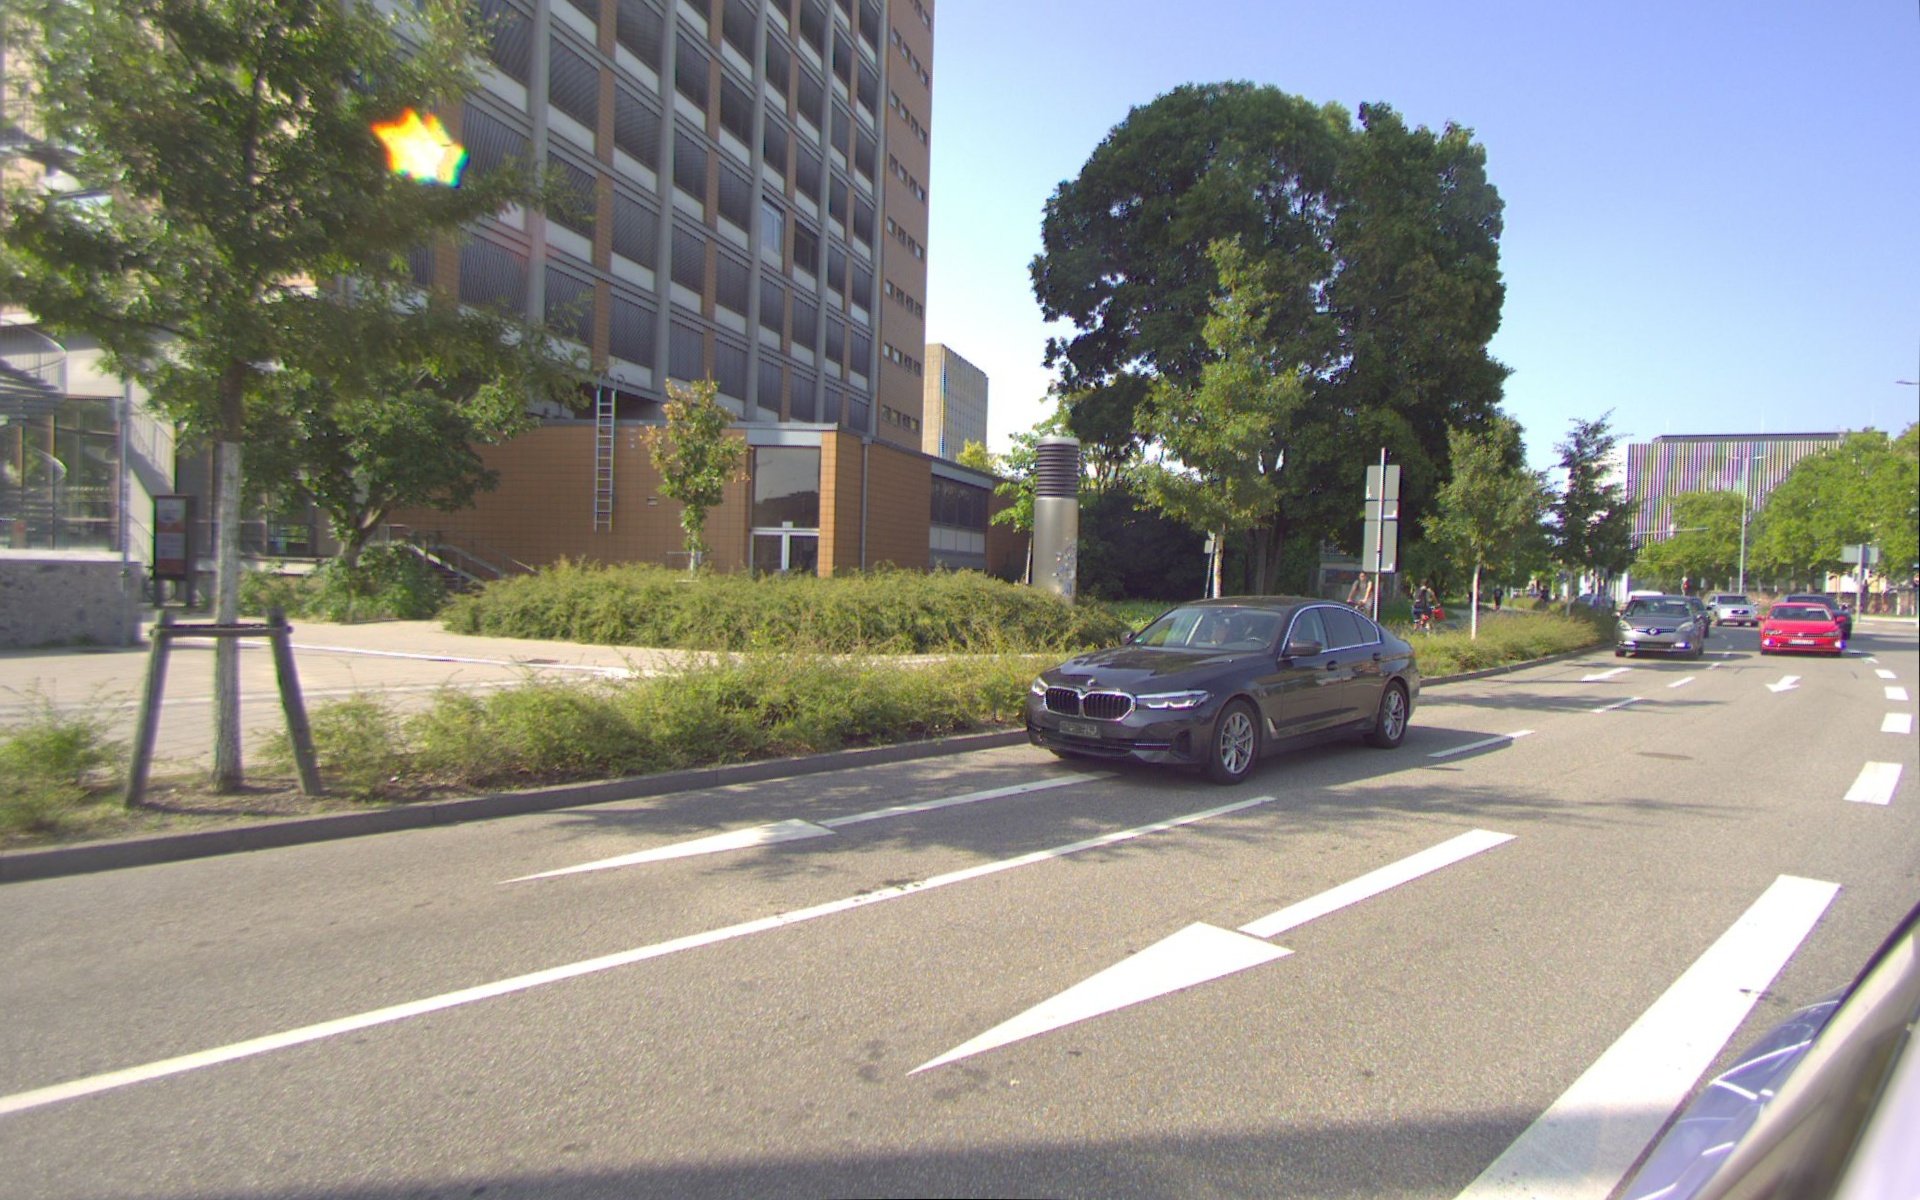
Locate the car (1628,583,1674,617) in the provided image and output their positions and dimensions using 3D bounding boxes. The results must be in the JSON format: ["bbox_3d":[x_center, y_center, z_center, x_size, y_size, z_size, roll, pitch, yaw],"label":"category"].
[{"bbox_3d":[42.423,-0.009,62.179,1.672,1.966,4.332,2,2,26],"label":"car"}]

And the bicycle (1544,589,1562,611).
[{"bbox_3d":[32.213,-0.008,54.960,0.767,1.131,2.278,2,1,31],"label":"bicycle"}]

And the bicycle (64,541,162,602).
[{"bbox_3d":[-21.236,-0.714,25.418,0.601,1.450,1.826,2,1,20],"label":"bicycle"}]

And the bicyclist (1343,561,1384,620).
[{"bbox_3d":[11.195,-0.263,28.072,0.770,1.613,0.910,2,1,42],"label":"bicyclist"}]

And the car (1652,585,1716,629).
[{"bbox_3d":[28.731,0.278,40.269,1.928,1.627,4.476,1,0,34],"label":"car"}]

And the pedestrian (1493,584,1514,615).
[{"bbox_3d":[32.733,-0.044,60.946,0.954,1.804,0.991,4,2,34],"label":"pedestrian"}]

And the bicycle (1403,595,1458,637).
[{"bbox_3d":[11.714,0.378,25.159,0.719,0.971,1.893,2,2,41],"label":"bicycle"}]

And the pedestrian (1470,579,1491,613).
[{"bbox_3d":[23.167,-0.174,45.045,0.722,1.461,0.847,2,1,34],"label":"pedestrian"}]

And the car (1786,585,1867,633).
[{"bbox_3d":[33.541,0.290,39.266,1.771,1.713,4.479,2,2,33],"label":"car"}]

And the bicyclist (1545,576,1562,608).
[{"bbox_3d":[32.238,-0.452,54.988,0.767,1.697,0.914,1,1,32],"label":"bicyclist"}]

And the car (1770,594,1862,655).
[{"bbox_3d":[23.943,0.629,28.423,1.679,1.510,4.314,3,2,37],"label":"car"}]

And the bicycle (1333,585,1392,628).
[{"bbox_3d":[11.179,0.171,28.060,0.770,1.131,2.269,2,1,41],"label":"bicycle"}]

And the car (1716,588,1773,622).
[{"bbox_3d":[41.989,0.289,54.262,1.768,1.742,4.484,-1,-1,30],"label":"car"}]

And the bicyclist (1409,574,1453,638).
[{"bbox_3d":[11.700,0.133,25.139,0.719,1.531,0.989,2,2,42],"label":"bicyclist"}]

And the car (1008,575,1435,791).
[{"bbox_3d":[2.619,0.577,9.320,4.596,1.510,1.684,0,1,-45],"label":"car"}]

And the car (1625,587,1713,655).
[{"bbox_3d":[18.831,0.517,26.810,1.774,1.626,4.362,1,0,37],"label":"car"}]

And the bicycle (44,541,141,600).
[{"bbox_3d":[-22.078,-0.739,25.797,0.601,1.450,1.804,2,1,20],"label":"bicycle"}]
